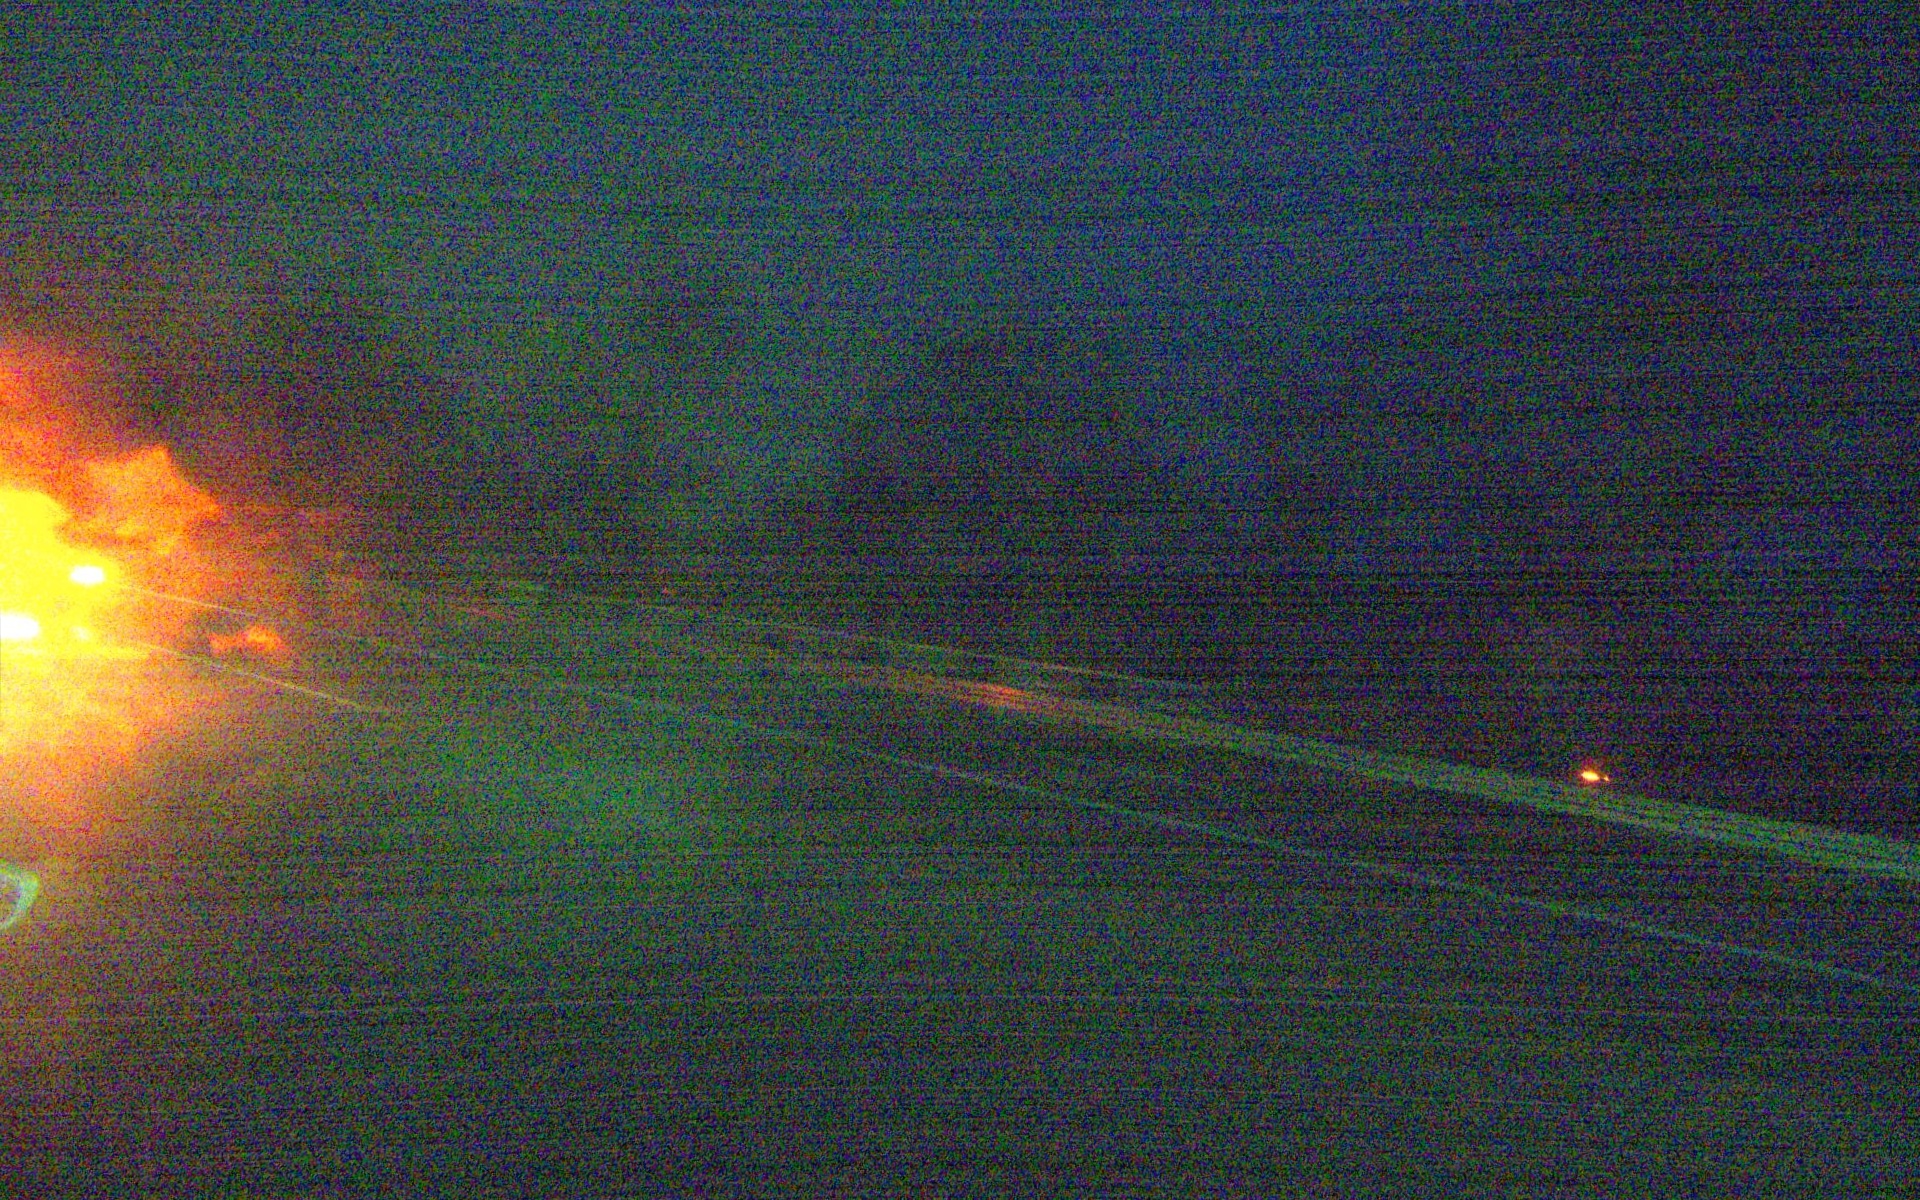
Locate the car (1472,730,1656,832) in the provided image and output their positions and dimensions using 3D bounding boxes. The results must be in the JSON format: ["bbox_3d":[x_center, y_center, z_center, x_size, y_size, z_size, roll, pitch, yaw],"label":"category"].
[{"bbox_3d":[17.593,5.258,29.424,2.229,2.034,3.952,13,-4,-42],"label":"car"}]

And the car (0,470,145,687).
[{"bbox_3d":[-9.038,-0.379,9.121,4.198,1.636,1.799,7,-2,42],"label":"car"}]
